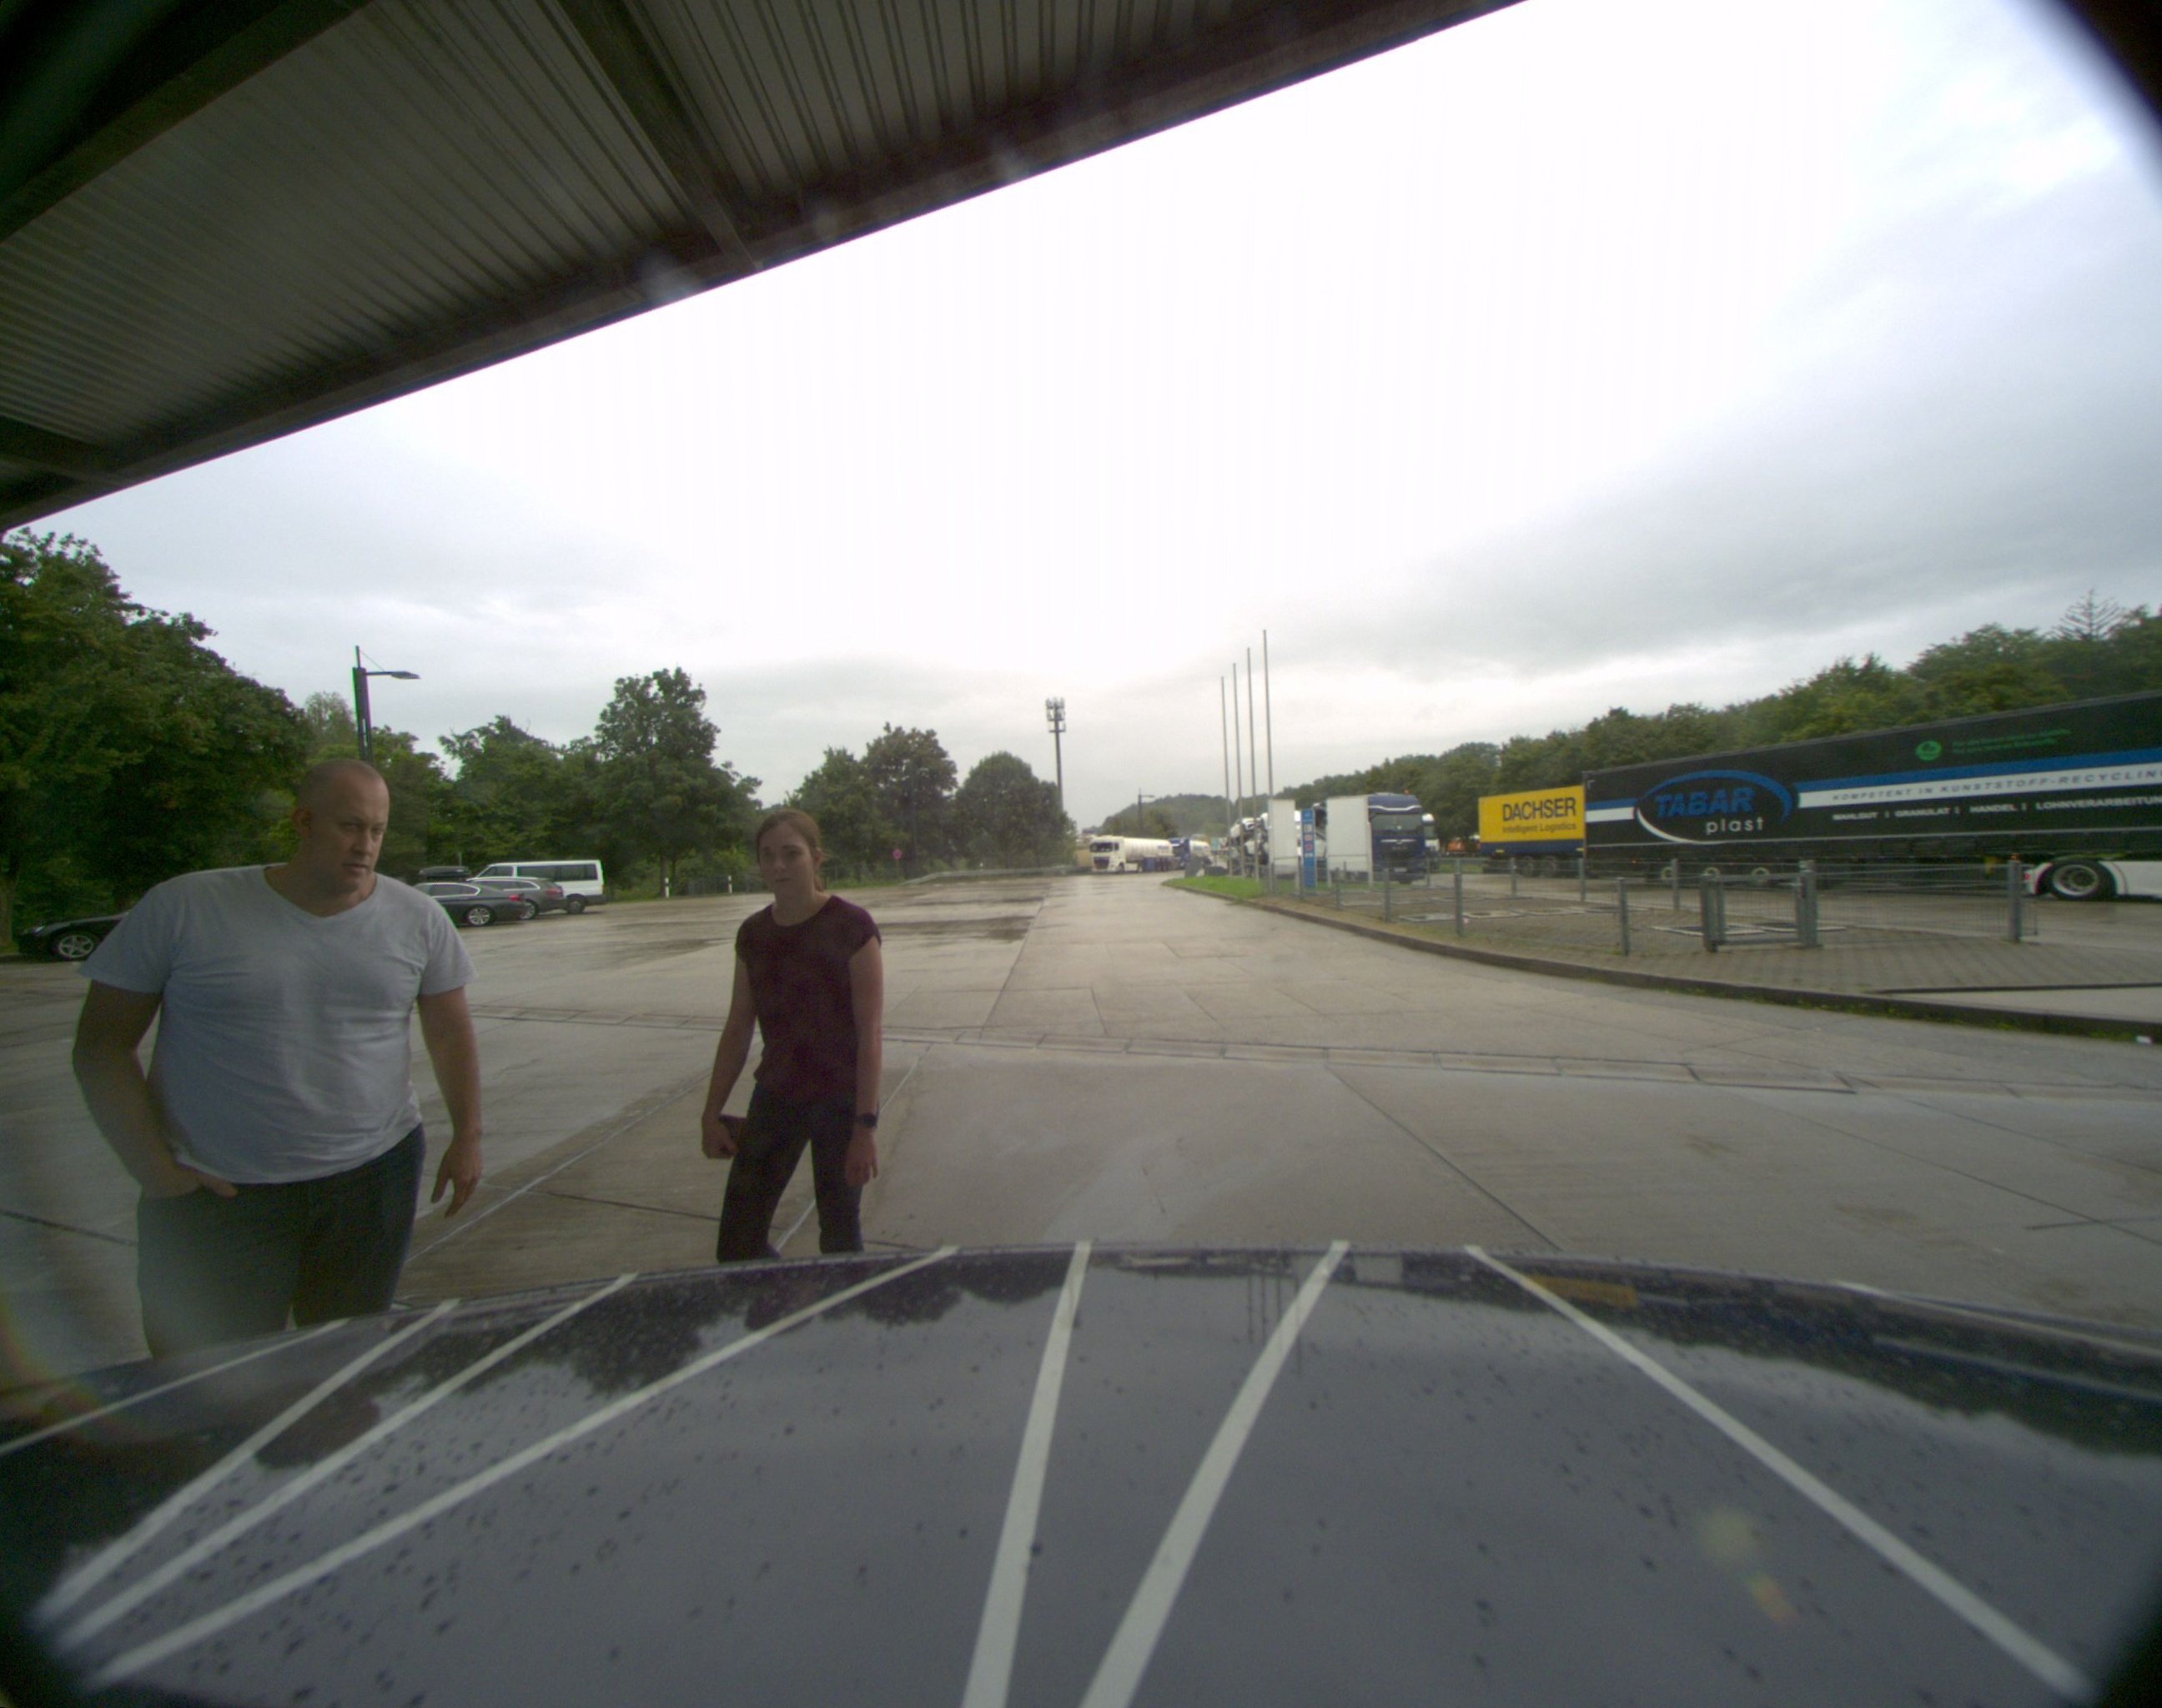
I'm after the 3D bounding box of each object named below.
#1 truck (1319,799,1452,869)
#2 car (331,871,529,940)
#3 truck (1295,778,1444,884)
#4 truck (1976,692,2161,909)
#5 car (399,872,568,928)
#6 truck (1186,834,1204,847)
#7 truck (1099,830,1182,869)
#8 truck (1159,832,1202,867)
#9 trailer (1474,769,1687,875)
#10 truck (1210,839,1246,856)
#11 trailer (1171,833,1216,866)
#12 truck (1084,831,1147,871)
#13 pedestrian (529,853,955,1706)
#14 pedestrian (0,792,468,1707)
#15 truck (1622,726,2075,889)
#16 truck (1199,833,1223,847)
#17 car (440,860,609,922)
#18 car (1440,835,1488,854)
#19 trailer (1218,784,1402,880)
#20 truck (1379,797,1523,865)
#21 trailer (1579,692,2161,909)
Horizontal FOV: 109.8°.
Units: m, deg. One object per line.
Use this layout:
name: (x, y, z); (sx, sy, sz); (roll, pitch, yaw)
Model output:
truck: (19.764, -1.225, 50.360); (2.991, 4.009, 10.464); (-2, 1, -10)
car: (-19.128, 1.450, 22.638); (4.187, 1.720, 1.995); (-2, 0, -33)
truck: (12.296, -0.927, 33.245); (2.990, 4.009, 7.259); (-2, 1, -7)
truck: (21.716, -1.046, 13.597); (2.992, 4.009, 6.733); (-2, 1, -15)
car: (-19.660, 1.453, 25.279); (4.187, 1.547, 1.995); (-2, 0, -33)
truck: (30.715, -3.670, 205.228); (2.619, 3.458, 9.319); (-2, 1, -4)
truck: (6.191, -0.526, 76.347); (3.243, 3.544, 11.995); (-2, 1, 31)
truck: (11.319, -0.529, 85.732); (3.045, 3.745, 6.475); (-2, 1, 23)
trailer: (21.777, -1.280, 33.990); (2.774, 4.009, 8.853); (-2, 1, -8)
truck: (33.589, -1.509, 174.604); (3.251, 3.543, 16.548); (-2, 1, -7)
trailer: (13.659, -0.657, 91.439); (2.898, 3.618, 10.586); (-2, 1, 22)
truck: (3.308, -0.359, 71.435); (3.243, 3.544, 6.114); (-2, 1, 31)
pedestrian: (-0.786, 0.868, 2.032); (0.797, 1.724, 0.838); (-1, 1, -13)
pedestrian: (-1.721, 0.795, 1.517); (0.635, 1.800, 0.493); (-4, 3, -34)
truck: (23.054, -1.219, 24.307); (2.774, 4.009, 10.632); (-2, 1, -8)
truck: (34.950, -3.848, 205.090); (3.251, 3.543, 11.968); (-2, 1, -5)
car: (-20.270, 1.282, 27.909); (4.780, 1.974, 2.010); (-2, 0, -36)
car: (45.777, -1.087, 90.966); (2.421, 2.163, 5.623); (-2, 0, -6)
trailer: (11.367, -1.003, 40.937); (2.990, 4.009, 16.597); (-2, 1, -7)
truck: (24.354, -1.409, 50.954); (2.991, 4.009, 10.464); (-2, 1, -10)
trailer: (20.266, -1.063, 20.022); (2.992, 4.009, 13.793); (-2, 1, -12)
